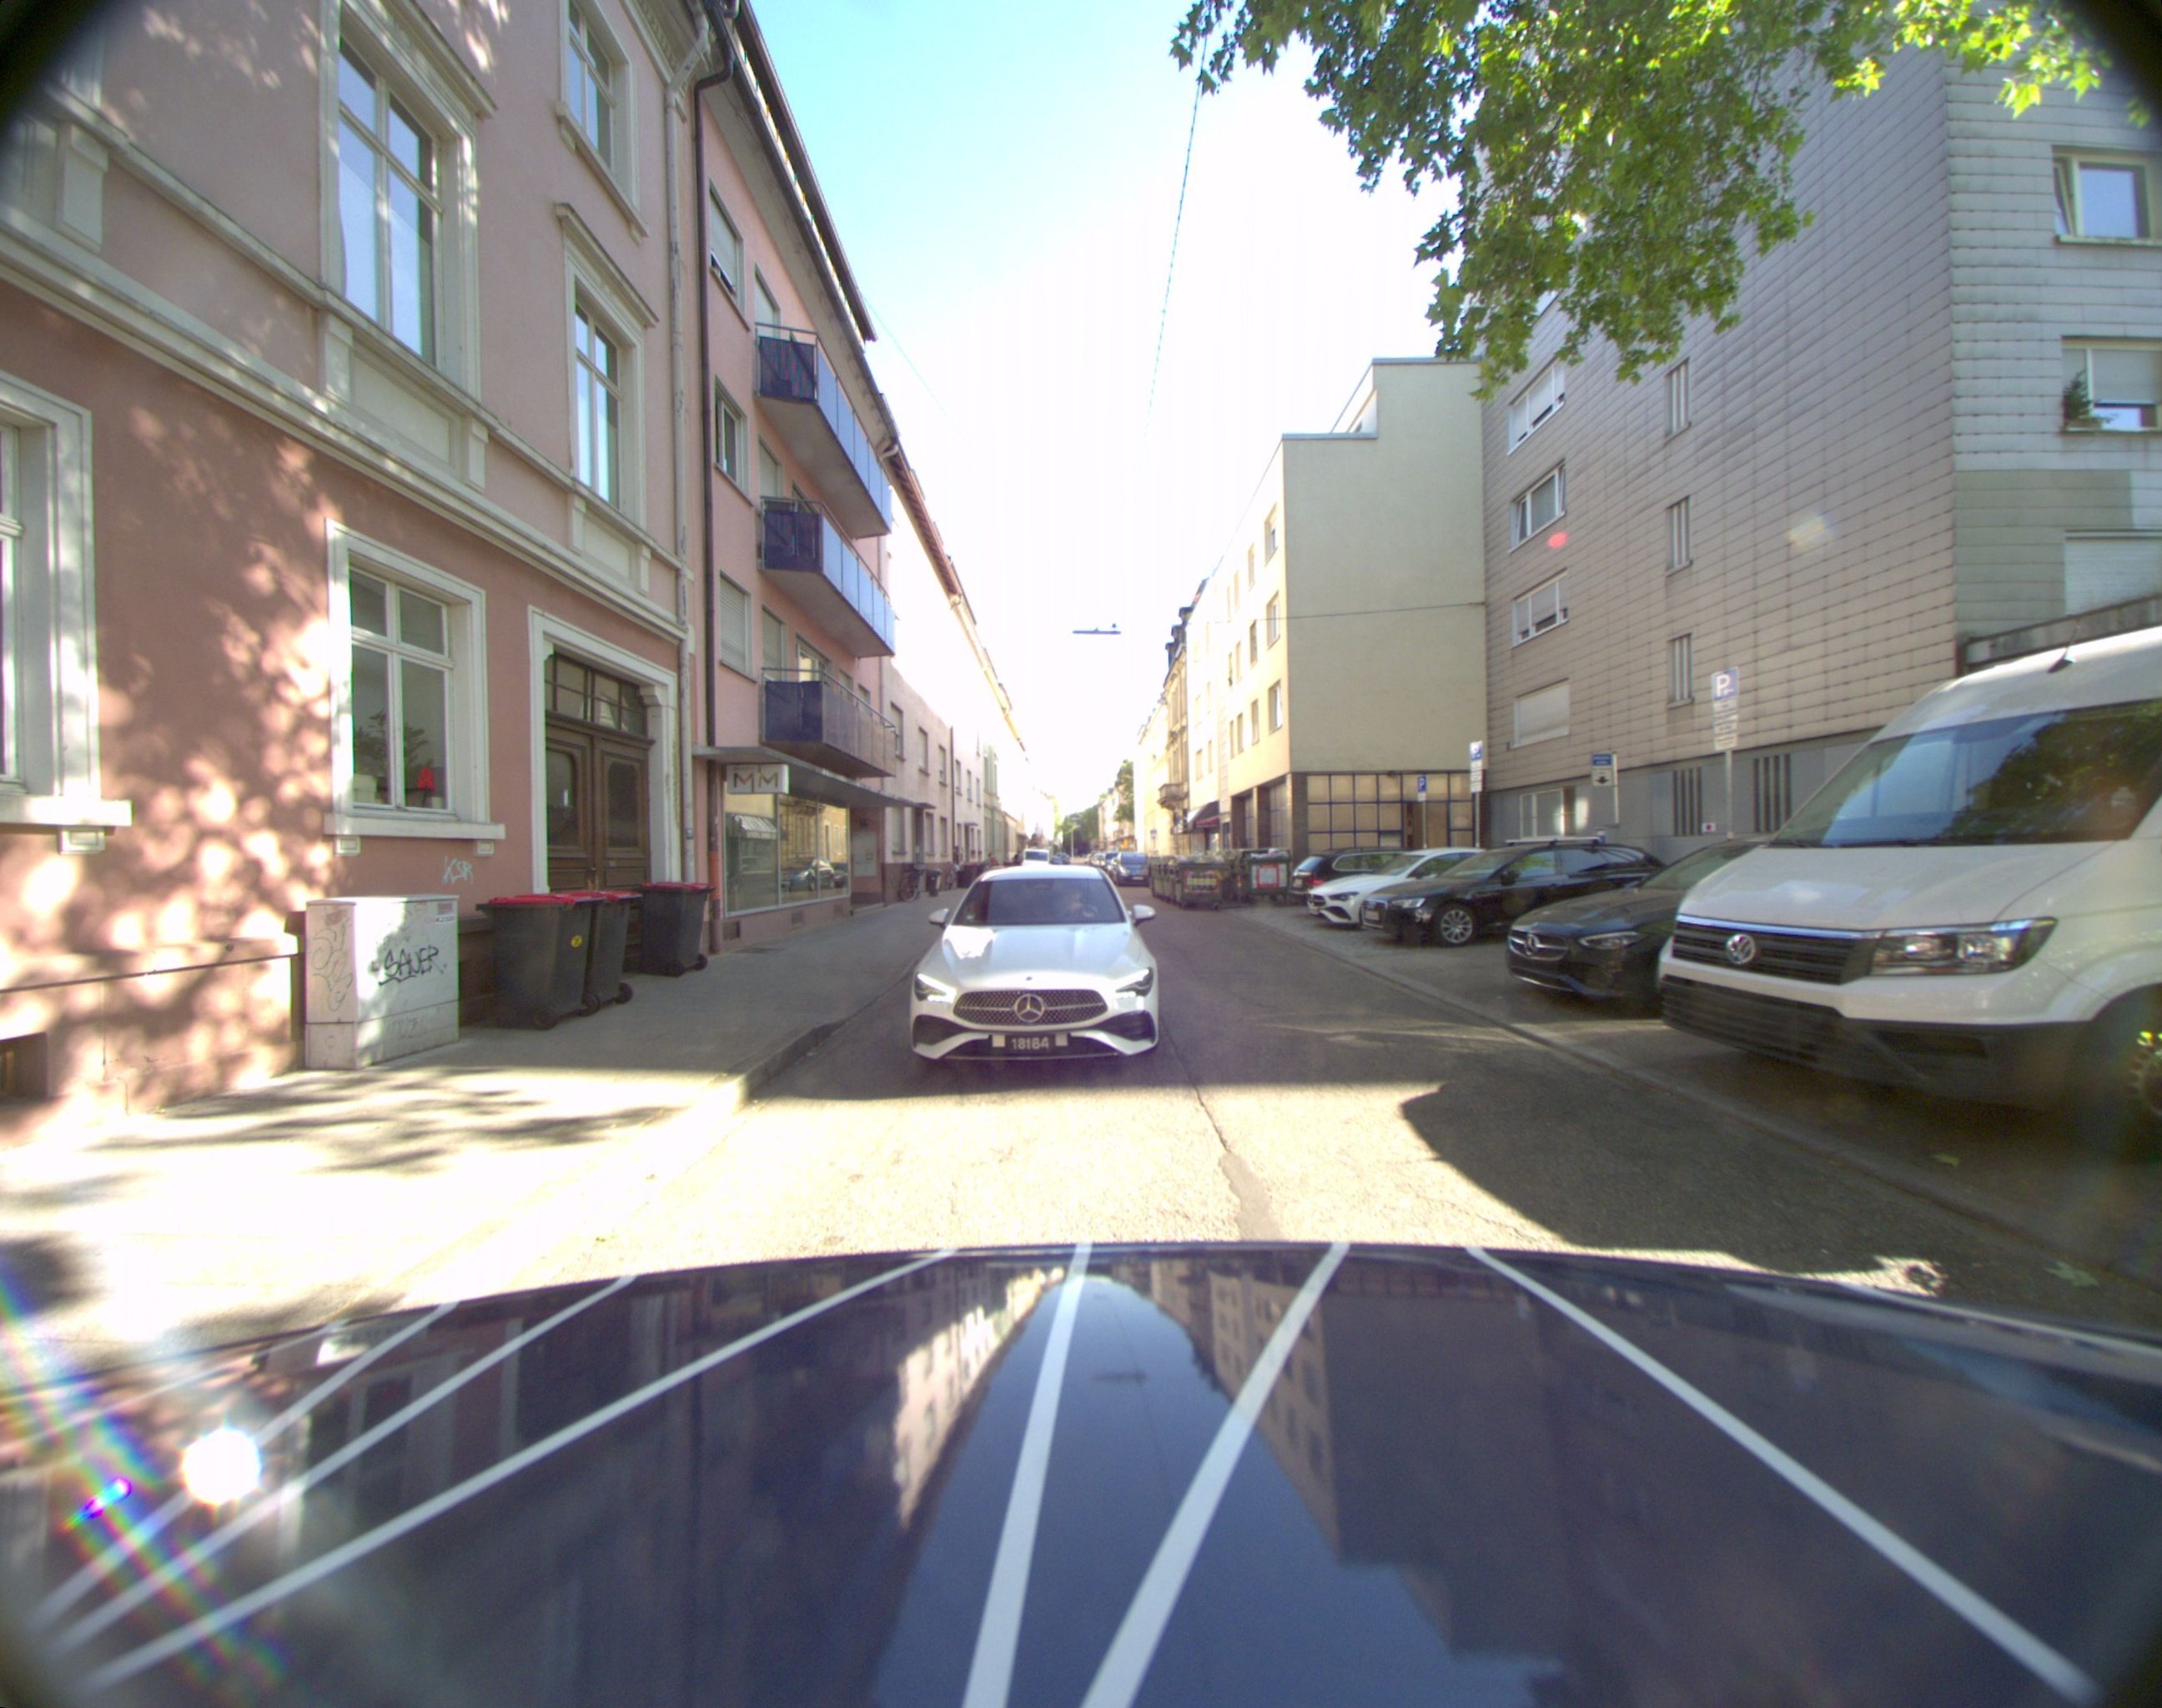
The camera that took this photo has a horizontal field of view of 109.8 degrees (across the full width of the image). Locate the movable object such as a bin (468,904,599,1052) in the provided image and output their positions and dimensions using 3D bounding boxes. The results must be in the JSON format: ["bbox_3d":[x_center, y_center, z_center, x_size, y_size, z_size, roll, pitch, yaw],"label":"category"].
[{"bbox_3d":[-4.426,0.979,6.180,0.570,1.078,0.654,2,0,-2],"label":"movable object such as a bin"}]

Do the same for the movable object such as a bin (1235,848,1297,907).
[{"bbox_3d":[4.889,0.607,20.175,1.328,1.492,1.195,-1,1,-2],"label":"movable object such as a bin"}]

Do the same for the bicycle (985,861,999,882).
[{"bbox_3d":[-4.715,0.909,40.416,0.490,1.089,1.933,-1,0,1],"label":"bicycle"}]

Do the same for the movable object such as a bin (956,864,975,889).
[{"bbox_3d":[-4.871,0.950,32.137,0.717,0.996,0.546,2,0,-2],"label":"movable object such as a bin"}]

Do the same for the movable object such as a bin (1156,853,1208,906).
[{"bbox_3d":[3.032,0.739,22.994,1.247,1.492,1.925,-1,0,-2],"label":"movable object such as a bin"}]

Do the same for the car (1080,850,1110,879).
[{"bbox_3d":[0.866,0.622,47.832,1.765,1.698,4.328,-1,0,1],"label":"car"}]

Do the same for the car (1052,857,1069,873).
[{"bbox_3d":[-2.241,1.218,84.488,1.765,1.698,4.327,-1,0,0],"label":"car"}]

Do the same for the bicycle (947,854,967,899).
[{"bbox_3d":[-4.959,0.868,30.456,0.402,1.725,2.107,-1,0,1],"label":"bicycle"}]

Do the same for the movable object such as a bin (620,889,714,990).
[{"bbox_3d":[-4.747,0.965,8.739,0.718,1.078,0.618,2,0,-2],"label":"movable object such as a bin"}]

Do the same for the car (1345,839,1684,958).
[{"bbox_3d":[6.624,0.628,11.852,4.417,1.607,1.698,-1,0,-6],"label":"car"}]

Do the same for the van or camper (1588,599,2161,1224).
[{"bbox_3d":[7.002,0.040,4.171,6.922,2.559,2.000,-4,0,1],"label":"van or camper"}]

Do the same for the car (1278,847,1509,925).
[{"bbox_3d":[6.794,0.654,16.735,4.417,1.524,1.698,-1,0,-6],"label":"car"}]

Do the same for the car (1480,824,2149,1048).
[{"bbox_3d":[6.284,0.647,6.875,4.415,1.524,1.699,-3,0,-1],"label":"car"}]

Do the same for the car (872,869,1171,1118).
[{"bbox_3d":[-0.353,0.933,7.097,1.862,1.448,4.562,-1,0,1],"label":"car"}]

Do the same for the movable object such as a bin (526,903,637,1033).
[{"bbox_3d":[-4.448,0.996,6.803,0.570,1.052,0.612,2,0,-2],"label":"movable object such as a bin"}]

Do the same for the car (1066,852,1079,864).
[{"bbox_3d":[-1.175,0.557,109.983,1.765,1.698,4.327,-1,0,0],"label":"car"}]

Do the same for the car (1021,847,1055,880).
[{"bbox_3d":[-2.564,0.548,46.332,1.765,1.843,4.327,-1,0,1],"label":"car"}]

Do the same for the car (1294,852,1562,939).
[{"bbox_3d":[6.507,0.737,14.456,4.417,1.454,1.599,-1,0,-6],"label":"car"}]

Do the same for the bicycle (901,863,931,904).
[{"bbox_3d":[-4.881,0.853,22.538,0.402,1.143,2.025,-1,0,1],"label":"bicycle"}]

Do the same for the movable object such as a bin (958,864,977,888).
[{"bbox_3d":[-4.879,0.961,32.724,0.717,0.996,0.546,2,0,-2],"label":"movable object such as a bin"}]

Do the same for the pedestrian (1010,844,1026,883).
[{"bbox_3d":[-3.265,0.499,39.359,0.761,2.002,0.771,-1,1,1],"label":"pedestrian"}]

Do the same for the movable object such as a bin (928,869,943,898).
[{"bbox_3d":[-4.833,0.975,25.185,0.416,0.935,0.302,2,1,-2],"label":"movable object such as a bin"}]

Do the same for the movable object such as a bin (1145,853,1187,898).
[{"bbox_3d":[2.935,0.720,26.399,1.222,1.492,1.560,-1,0,-2],"label":"movable object such as a bin"}]

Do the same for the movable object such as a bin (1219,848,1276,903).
[{"bbox_3d":[4.713,0.581,21.594,1.222,1.492,1.517,-1,0,-2],"label":"movable object such as a bin"}]

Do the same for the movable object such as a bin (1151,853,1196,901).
[{"bbox_3d":[2.996,0.734,24.819,1.222,1.492,1.560,-1,0,-2],"label":"movable object such as a bin"}]

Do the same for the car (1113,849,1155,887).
[{"bbox_3d":[2.499,0.633,36.917,1.765,1.698,4.327,-1,0,1],"label":"car"}]

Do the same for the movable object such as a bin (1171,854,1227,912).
[{"bbox_3d":[3.176,0.751,20.700,1.241,1.491,1.877,-1,0,1],"label":"movable object such as a bin"}]
